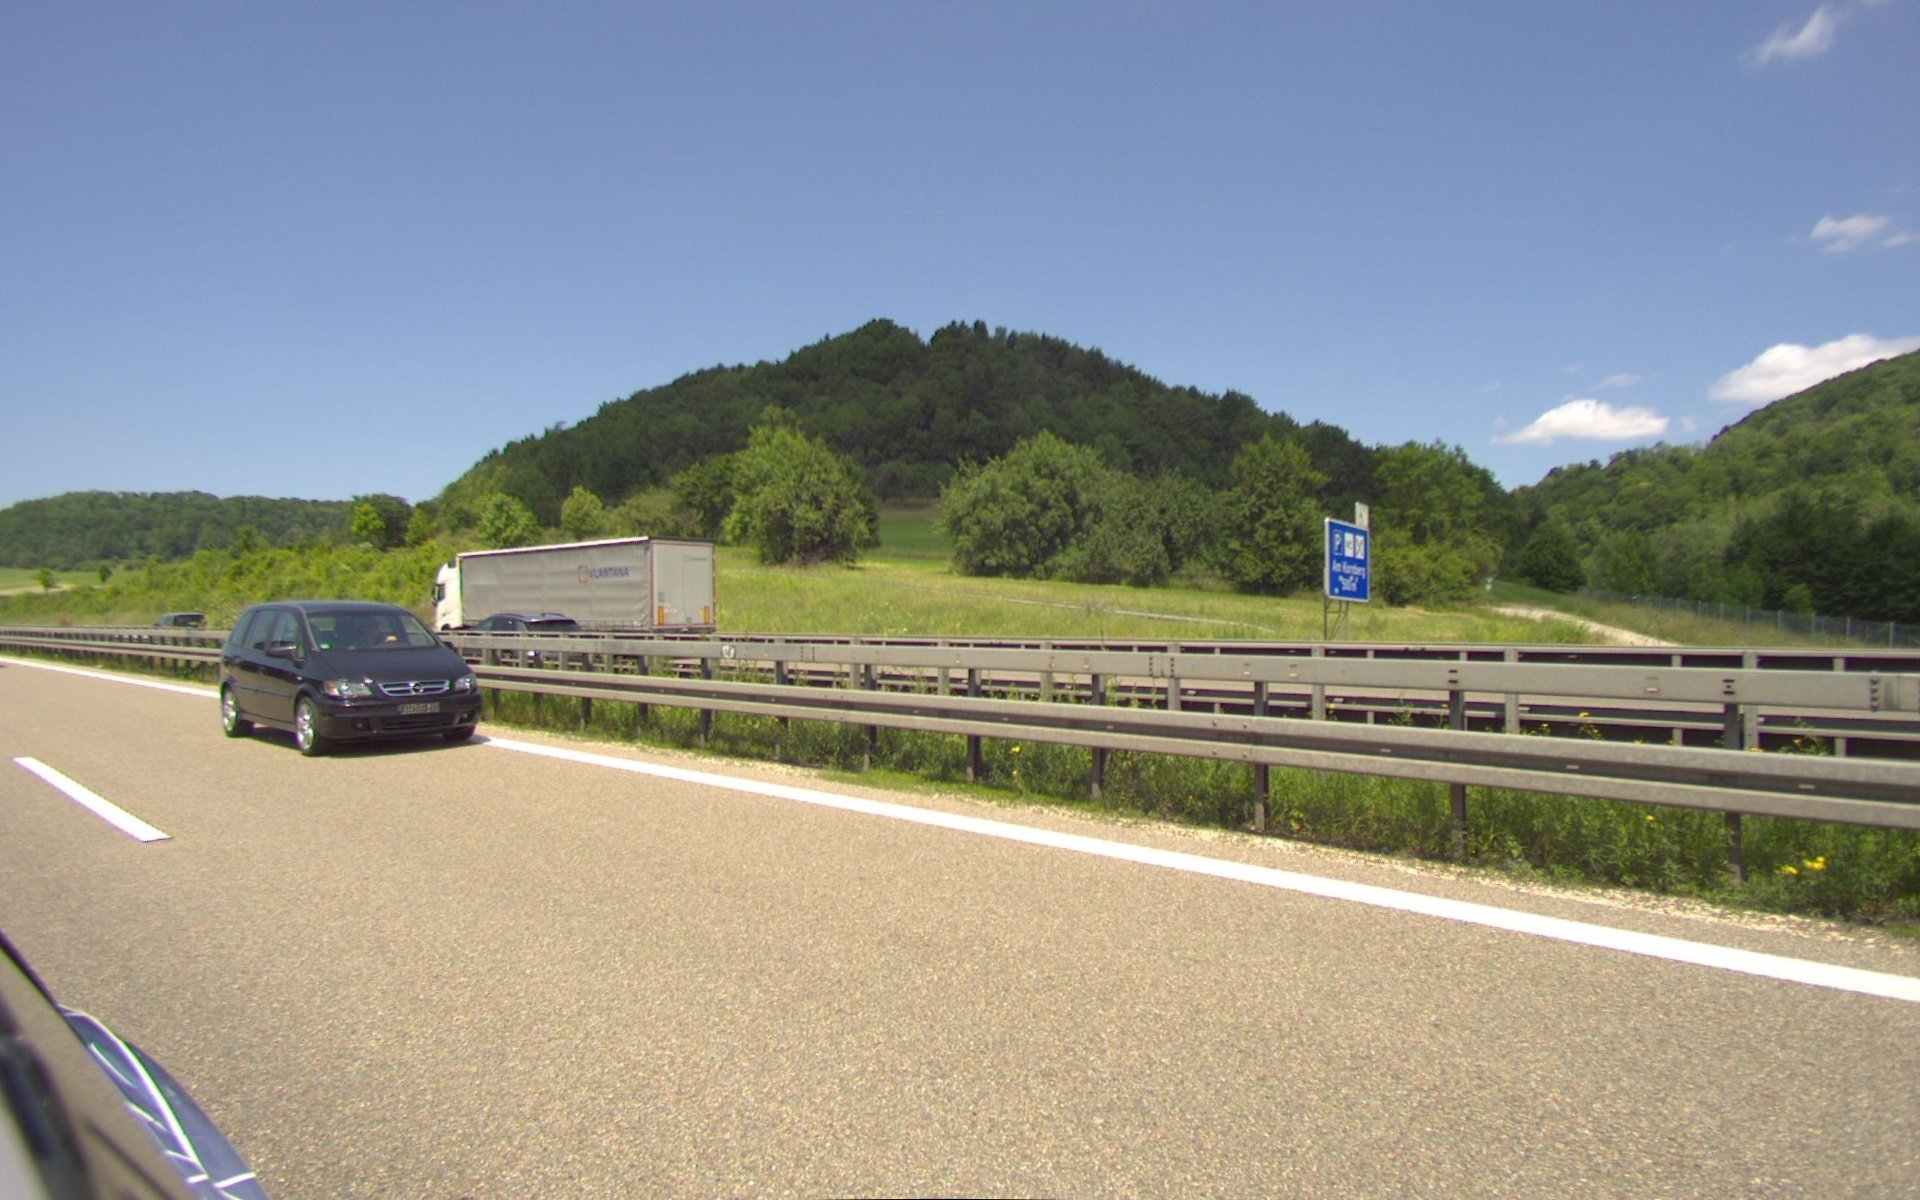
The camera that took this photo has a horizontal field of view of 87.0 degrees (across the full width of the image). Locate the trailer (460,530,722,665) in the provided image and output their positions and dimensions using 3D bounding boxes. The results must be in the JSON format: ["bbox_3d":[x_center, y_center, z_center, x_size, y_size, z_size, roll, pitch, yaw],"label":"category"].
[{"bbox_3d":[-14.051,-0.045,37.331,13.607,4.222,2.825,-1,0,41],"label":"trailer"}]

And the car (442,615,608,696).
[{"bbox_3d":[-10.283,1.234,23.821,4.278,1.722,1.828,-1,-1,39],"label":"car"}]

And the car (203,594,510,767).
[{"bbox_3d":[-7.123,0.802,11.751,4.444,1.647,1.782,-1,-1,41],"label":"car"}]

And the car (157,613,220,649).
[{"bbox_3d":[-43.217,1.710,56.648,4.405,1.867,1.973,-1,0,42],"label":"car"}]

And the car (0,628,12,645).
[{"bbox_3d":[-91.998,3.477,96.487,4.075,1.622,1.830,-1,-1,40],"label":"car"}]

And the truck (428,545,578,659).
[{"bbox_3d":[-18.792,0.084,41.406,7.227,4.264,2.769,-1,0,41],"label":"truck"}]

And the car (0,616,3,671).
[{"bbox_3d":[-30.732,1.311,30.773,3.997,1.634,1.973,-1,-1,40],"label":"car"}]
